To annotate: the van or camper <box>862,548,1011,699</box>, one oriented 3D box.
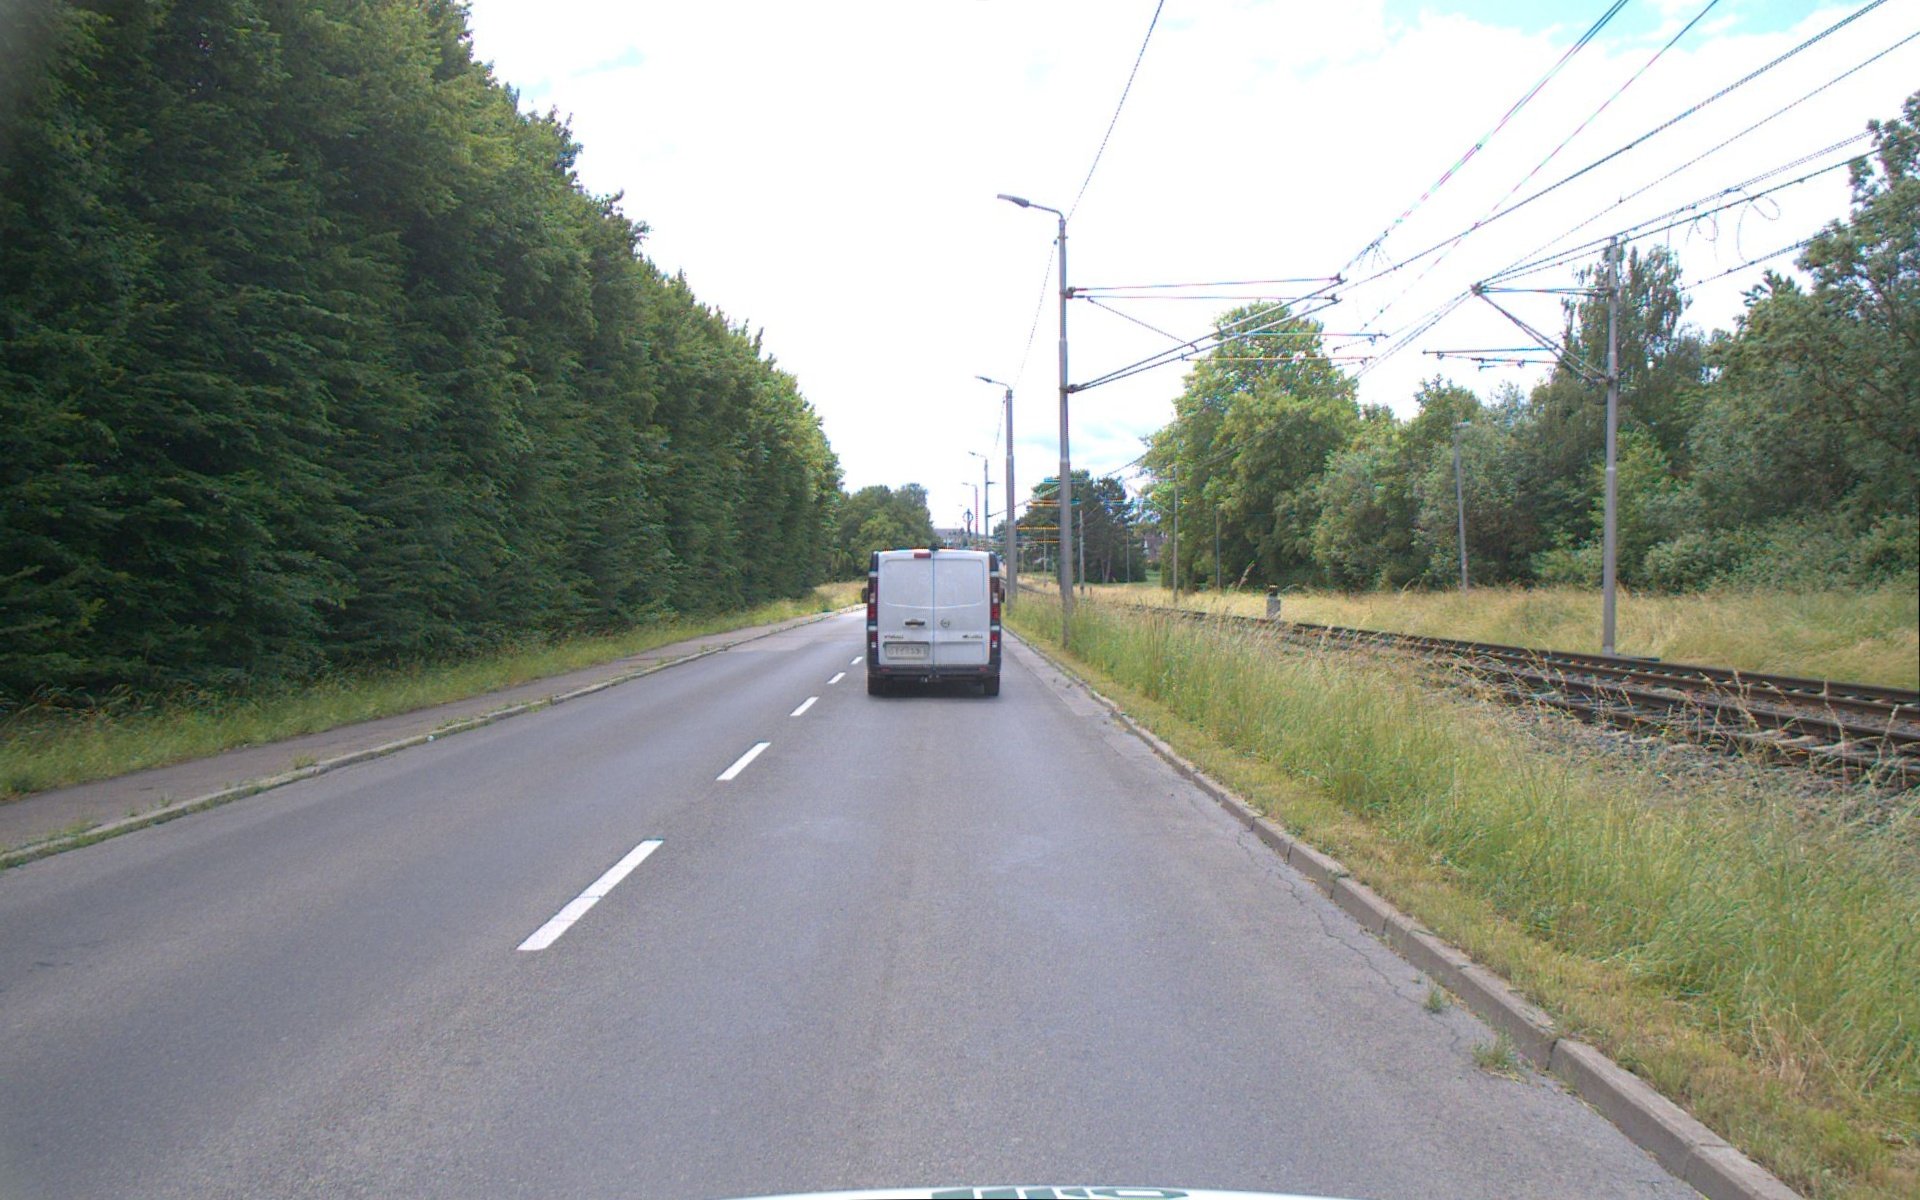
[{"bbox_3d":[-0.335,0.271,23.673,1.902,1.930,4.284,1,1,-1],"label":"van or camper"}]
